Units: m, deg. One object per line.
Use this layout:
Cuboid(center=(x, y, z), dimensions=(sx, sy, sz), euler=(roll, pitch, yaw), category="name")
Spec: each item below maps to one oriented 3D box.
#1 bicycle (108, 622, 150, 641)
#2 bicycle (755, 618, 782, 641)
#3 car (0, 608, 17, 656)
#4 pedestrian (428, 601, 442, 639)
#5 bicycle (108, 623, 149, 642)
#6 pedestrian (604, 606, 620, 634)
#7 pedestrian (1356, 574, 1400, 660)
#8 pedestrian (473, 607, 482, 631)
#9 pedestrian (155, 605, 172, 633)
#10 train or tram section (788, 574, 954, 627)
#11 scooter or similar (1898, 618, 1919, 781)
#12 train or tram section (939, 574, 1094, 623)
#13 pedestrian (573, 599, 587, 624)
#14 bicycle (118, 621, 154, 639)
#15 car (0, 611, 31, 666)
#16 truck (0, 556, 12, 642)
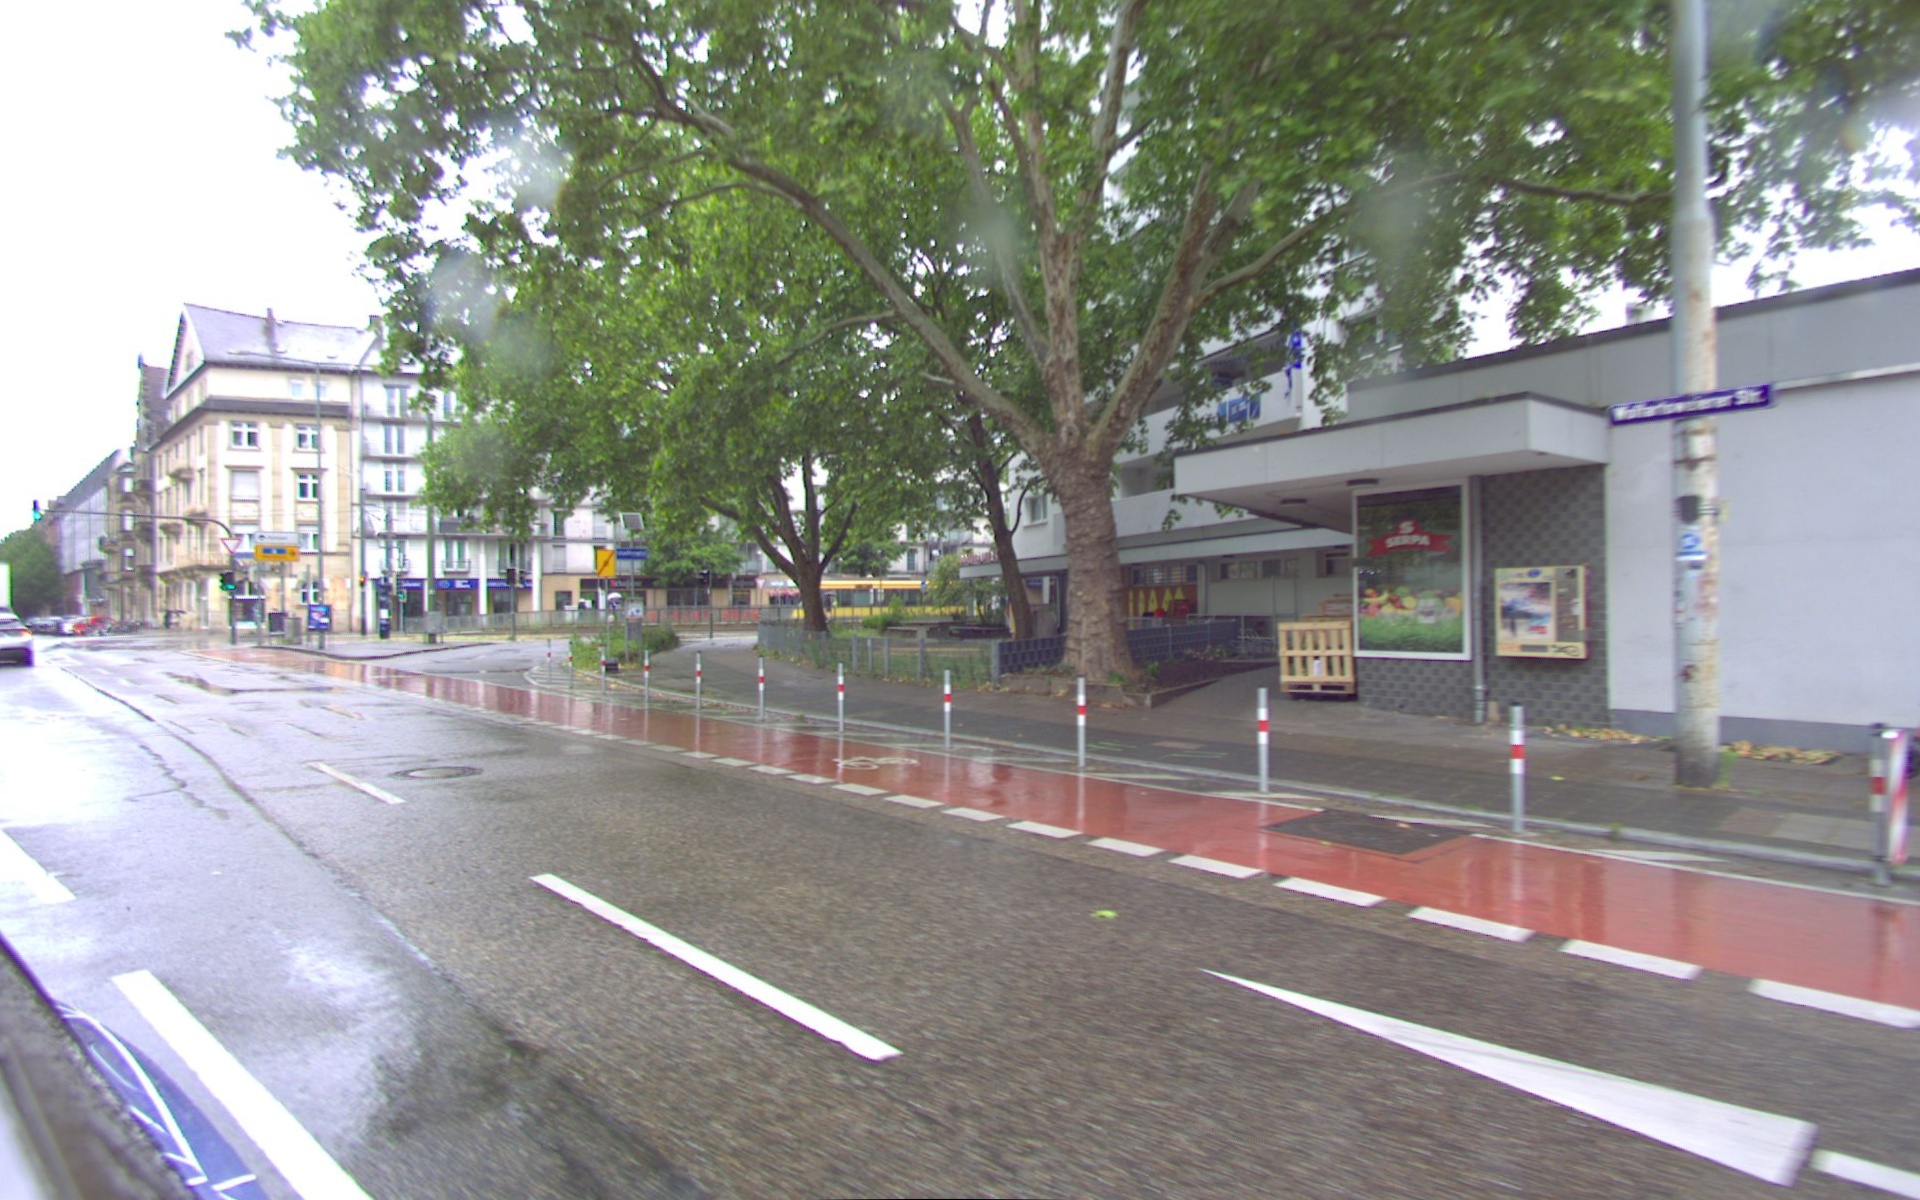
Cuboid(center=(-61.981, 2.326, 75.504), dimensions=(0.639, 1.356, 2.317), euler=(-2, -1, 39), category="bicycle")
Cuboid(center=(-8.136, 1.240, 43.037), dimensions=(0.630, 0.875, 2.316), euler=(-1, 1, 2), category="bicycle")
Cuboid(center=(-38.724, 1.262, 40.158), dimensions=(1.786, 1.876, 4.111), euler=(0, -1, -45), category="car")
Cuboid(center=(-29.200, 1.093, 56.322), dimensions=(0.690, 2.093, 0.639), euler=(0, -1, -27), category="pedestrian")
Cuboid(center=(-61.580, 2.391, 74.968), dimensions=(0.639, 1.356, 2.317), euler=(-2, -1, 39), category="bicycle")
Cuboid(center=(-20.470, 1.186, 59.549), dimensions=(0.803, 1.661, 0.796), euler=(0, -1, -22), category="pedestrian")
Cuboid(center=(8.147, 0.328, 19.734), dimensions=(0.641, 1.641, 0.563), euler=(-1, -1, 40), category="pedestrian")
Cuboid(center=(-37.418, 1.467, 78.443), dimensions=(0.601, 1.793, 0.501), euler=(0, -1, -21), category="pedestrian")
Cuboid(center=(-59.319, 1.416, 75.378), dimensions=(0.907, 1.980, 0.701), euler=(-1, 2, -43), category="pedestrian")
Cuboid(center=(-6.280, 0.012, 71.999), dimensions=(11.376, 3.530, 3.083), euler=(0, -1, -22), category="train or tram section")
Cuboid(center=(8.083, 0.784, 7.665), dimensions=(0.432, 1.275, 1.378), euler=(0, -1, -38), category="scooter or similar")
Cuboid(center=(4.315, -0.106, 76.205), dimensions=(11.376, 3.530, 3.083), euler=(0, -1, -22), category="train or tram section")
Cuboid(center=(-25.210, 0.748, 67.139), dimensions=(0.743, 1.661, 0.840), euler=(1, -1, -25), category="pedestrian")
Cuboid(center=(-61.877, 2.256, 76.039), dimensions=(0.584, 1.356, 2.036), euler=(-2, -1, 39), category="bicycle")
Cuboid(center=(-28.248, 1.098, 29.243), dimensions=(4.056, 1.521, 1.825), euler=(-1, -1, 44), category="car")
Cuboid(center=(-50.209, 0.023, 50.999), dimensions=(10.315, 4.056, 2.815), euler=(-1, -1, 43), category="truck")
